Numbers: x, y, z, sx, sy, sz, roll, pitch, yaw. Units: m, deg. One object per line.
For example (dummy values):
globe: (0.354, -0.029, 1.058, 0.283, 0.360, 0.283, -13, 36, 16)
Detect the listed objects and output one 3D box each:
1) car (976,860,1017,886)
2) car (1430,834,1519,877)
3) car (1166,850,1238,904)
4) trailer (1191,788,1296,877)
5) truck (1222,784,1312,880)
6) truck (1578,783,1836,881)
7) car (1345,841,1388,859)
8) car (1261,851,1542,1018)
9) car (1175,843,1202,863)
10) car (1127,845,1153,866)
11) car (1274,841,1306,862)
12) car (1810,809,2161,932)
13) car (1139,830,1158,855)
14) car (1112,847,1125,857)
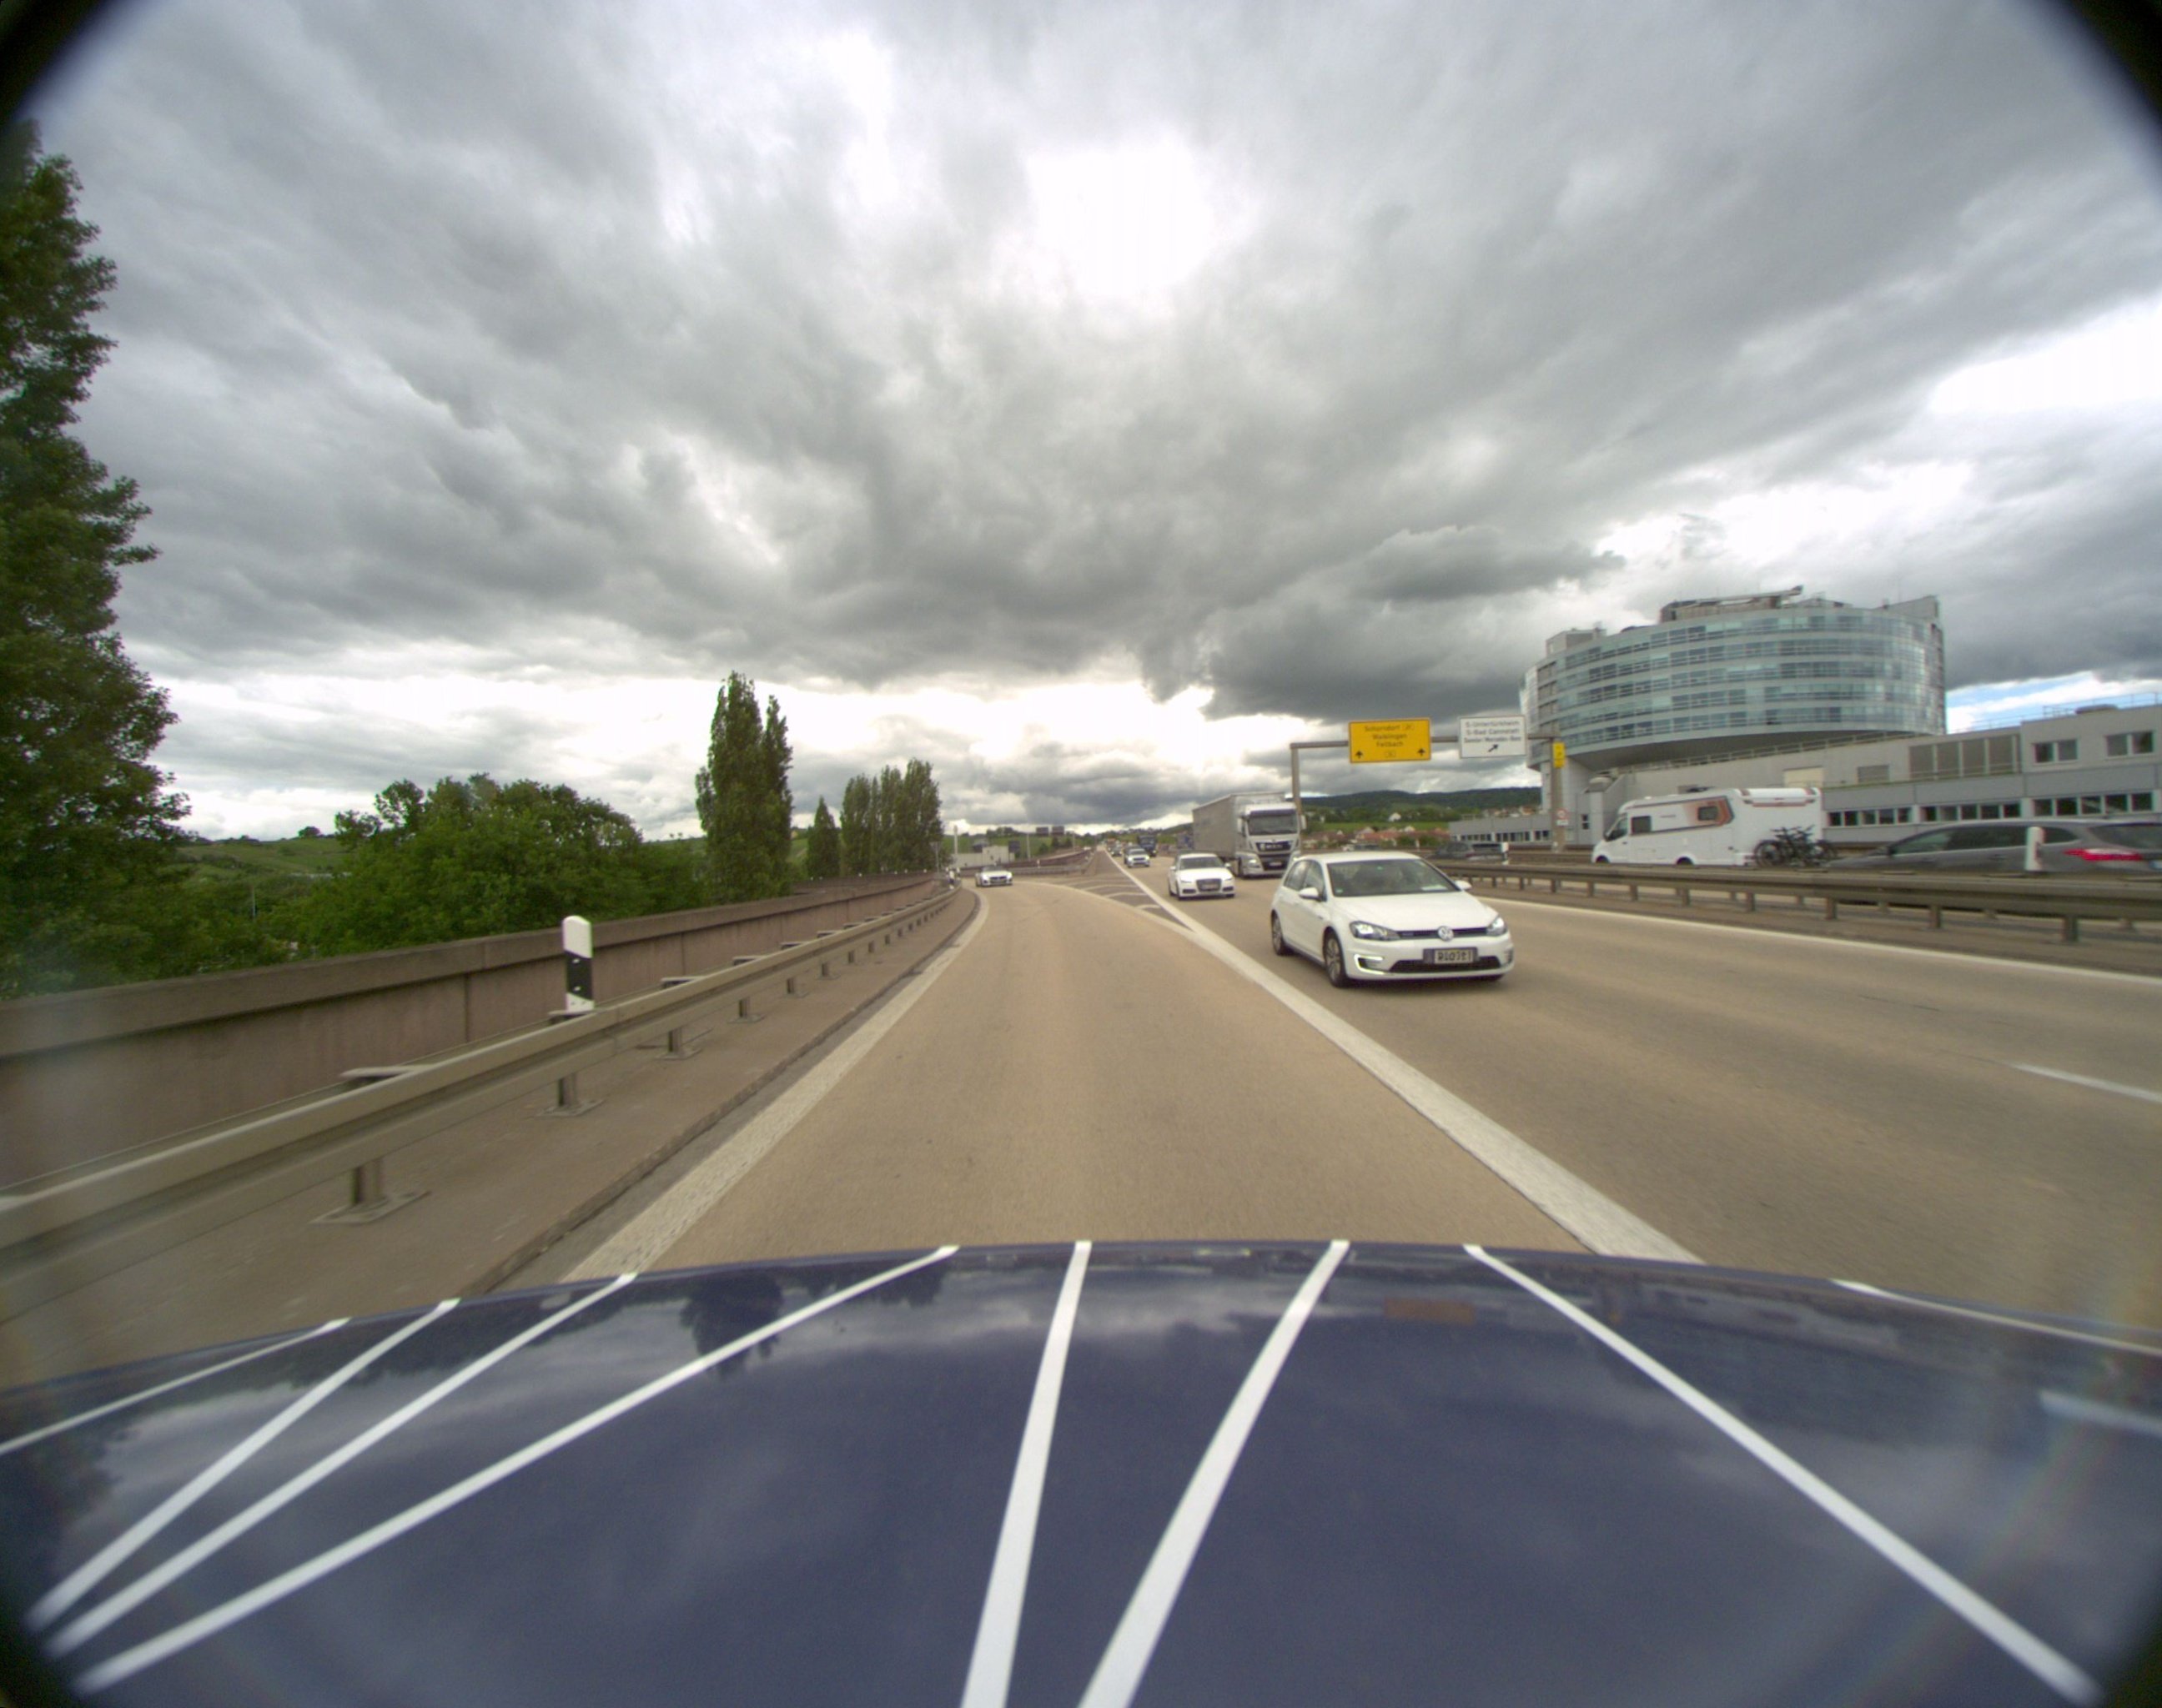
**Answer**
car: (-5.313, 1.127, 47.247, 1.864, 1.337, 4.819, -5, 1, -13)
car: (15.410, 0.071, 29.983, 1.649, 1.576, 3.719, -1, 0, 2)
car: (3.892, 0.691, 25.019, 1.787, 1.509, 4.000, -4, 0, 2)
trailer: (8.553, -1.094, 42.304, 2.863, 3.988, 13.972, -3, 1, 1)
truck: (8.450, -0.984, 35.083, 2.863, 3.988, 4.791, -3, 1, 1)
truck: (19.342, -0.577, 24.238, 2.496, 2.611, 7.350, -1, 0, 3)
car: (20.009, -0.263, 53.449, 1.646, 1.228, 4.282, -1, 0, 3)
car: (3.512, 0.764, 9.205, 1.713, 1.488, 4.000, -3, 0, 1)
car: (9.328, -0.100, 66.259, 1.787, 1.509, 4.000, -5, 0, 2)
car: (5.285, 0.149, 68.306, 1.998, 1.672, 4.000, -3, 0, 0)
car: (16.357, -0.236, 59.579, 1.698, 1.542, 3.642, -1, 1, 3)
car: (14.868, 0.216, 12.267, 1.998, 1.626, 4.454, -1, 0, 2)
car: (10.235, -1.717, 115.243, 2.363, 3.639, 4.799, -5, 0, 2)
car: (6.808, -0.432, 137.491, 1.997, 1.672, 4.002, -3, 0, 7)
